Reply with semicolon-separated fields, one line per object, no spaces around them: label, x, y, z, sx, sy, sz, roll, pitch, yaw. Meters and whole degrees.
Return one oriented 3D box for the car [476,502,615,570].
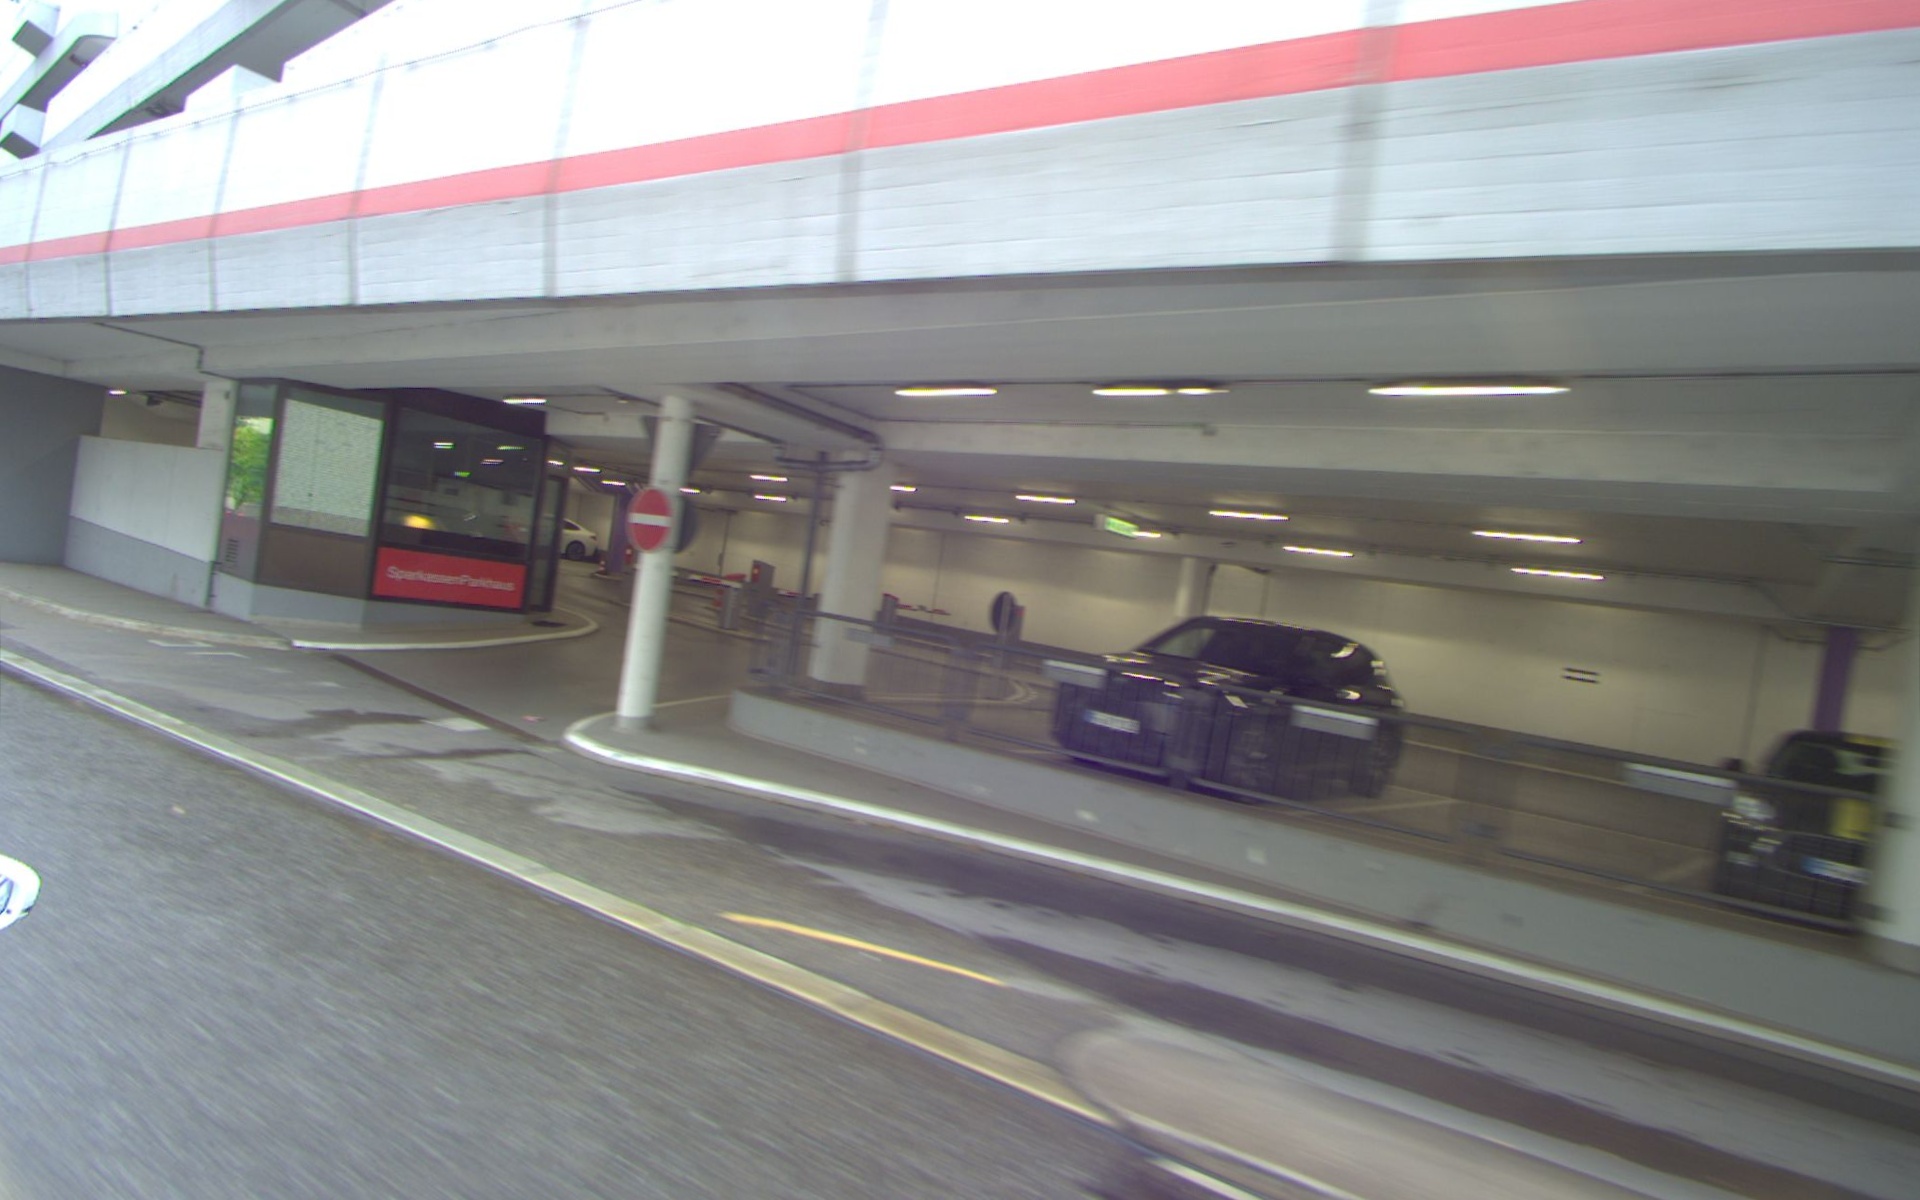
car;-14.645;-2.255;35.683;1.972;1.658;3.986;6;-3;41

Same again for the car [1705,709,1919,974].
car;7.367;1.808;8.045;1.782;1.524;3.717;9;1;42

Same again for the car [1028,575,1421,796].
car;2.896;0.959;10.214;1.798;1.658;4.572;6;-4;43
